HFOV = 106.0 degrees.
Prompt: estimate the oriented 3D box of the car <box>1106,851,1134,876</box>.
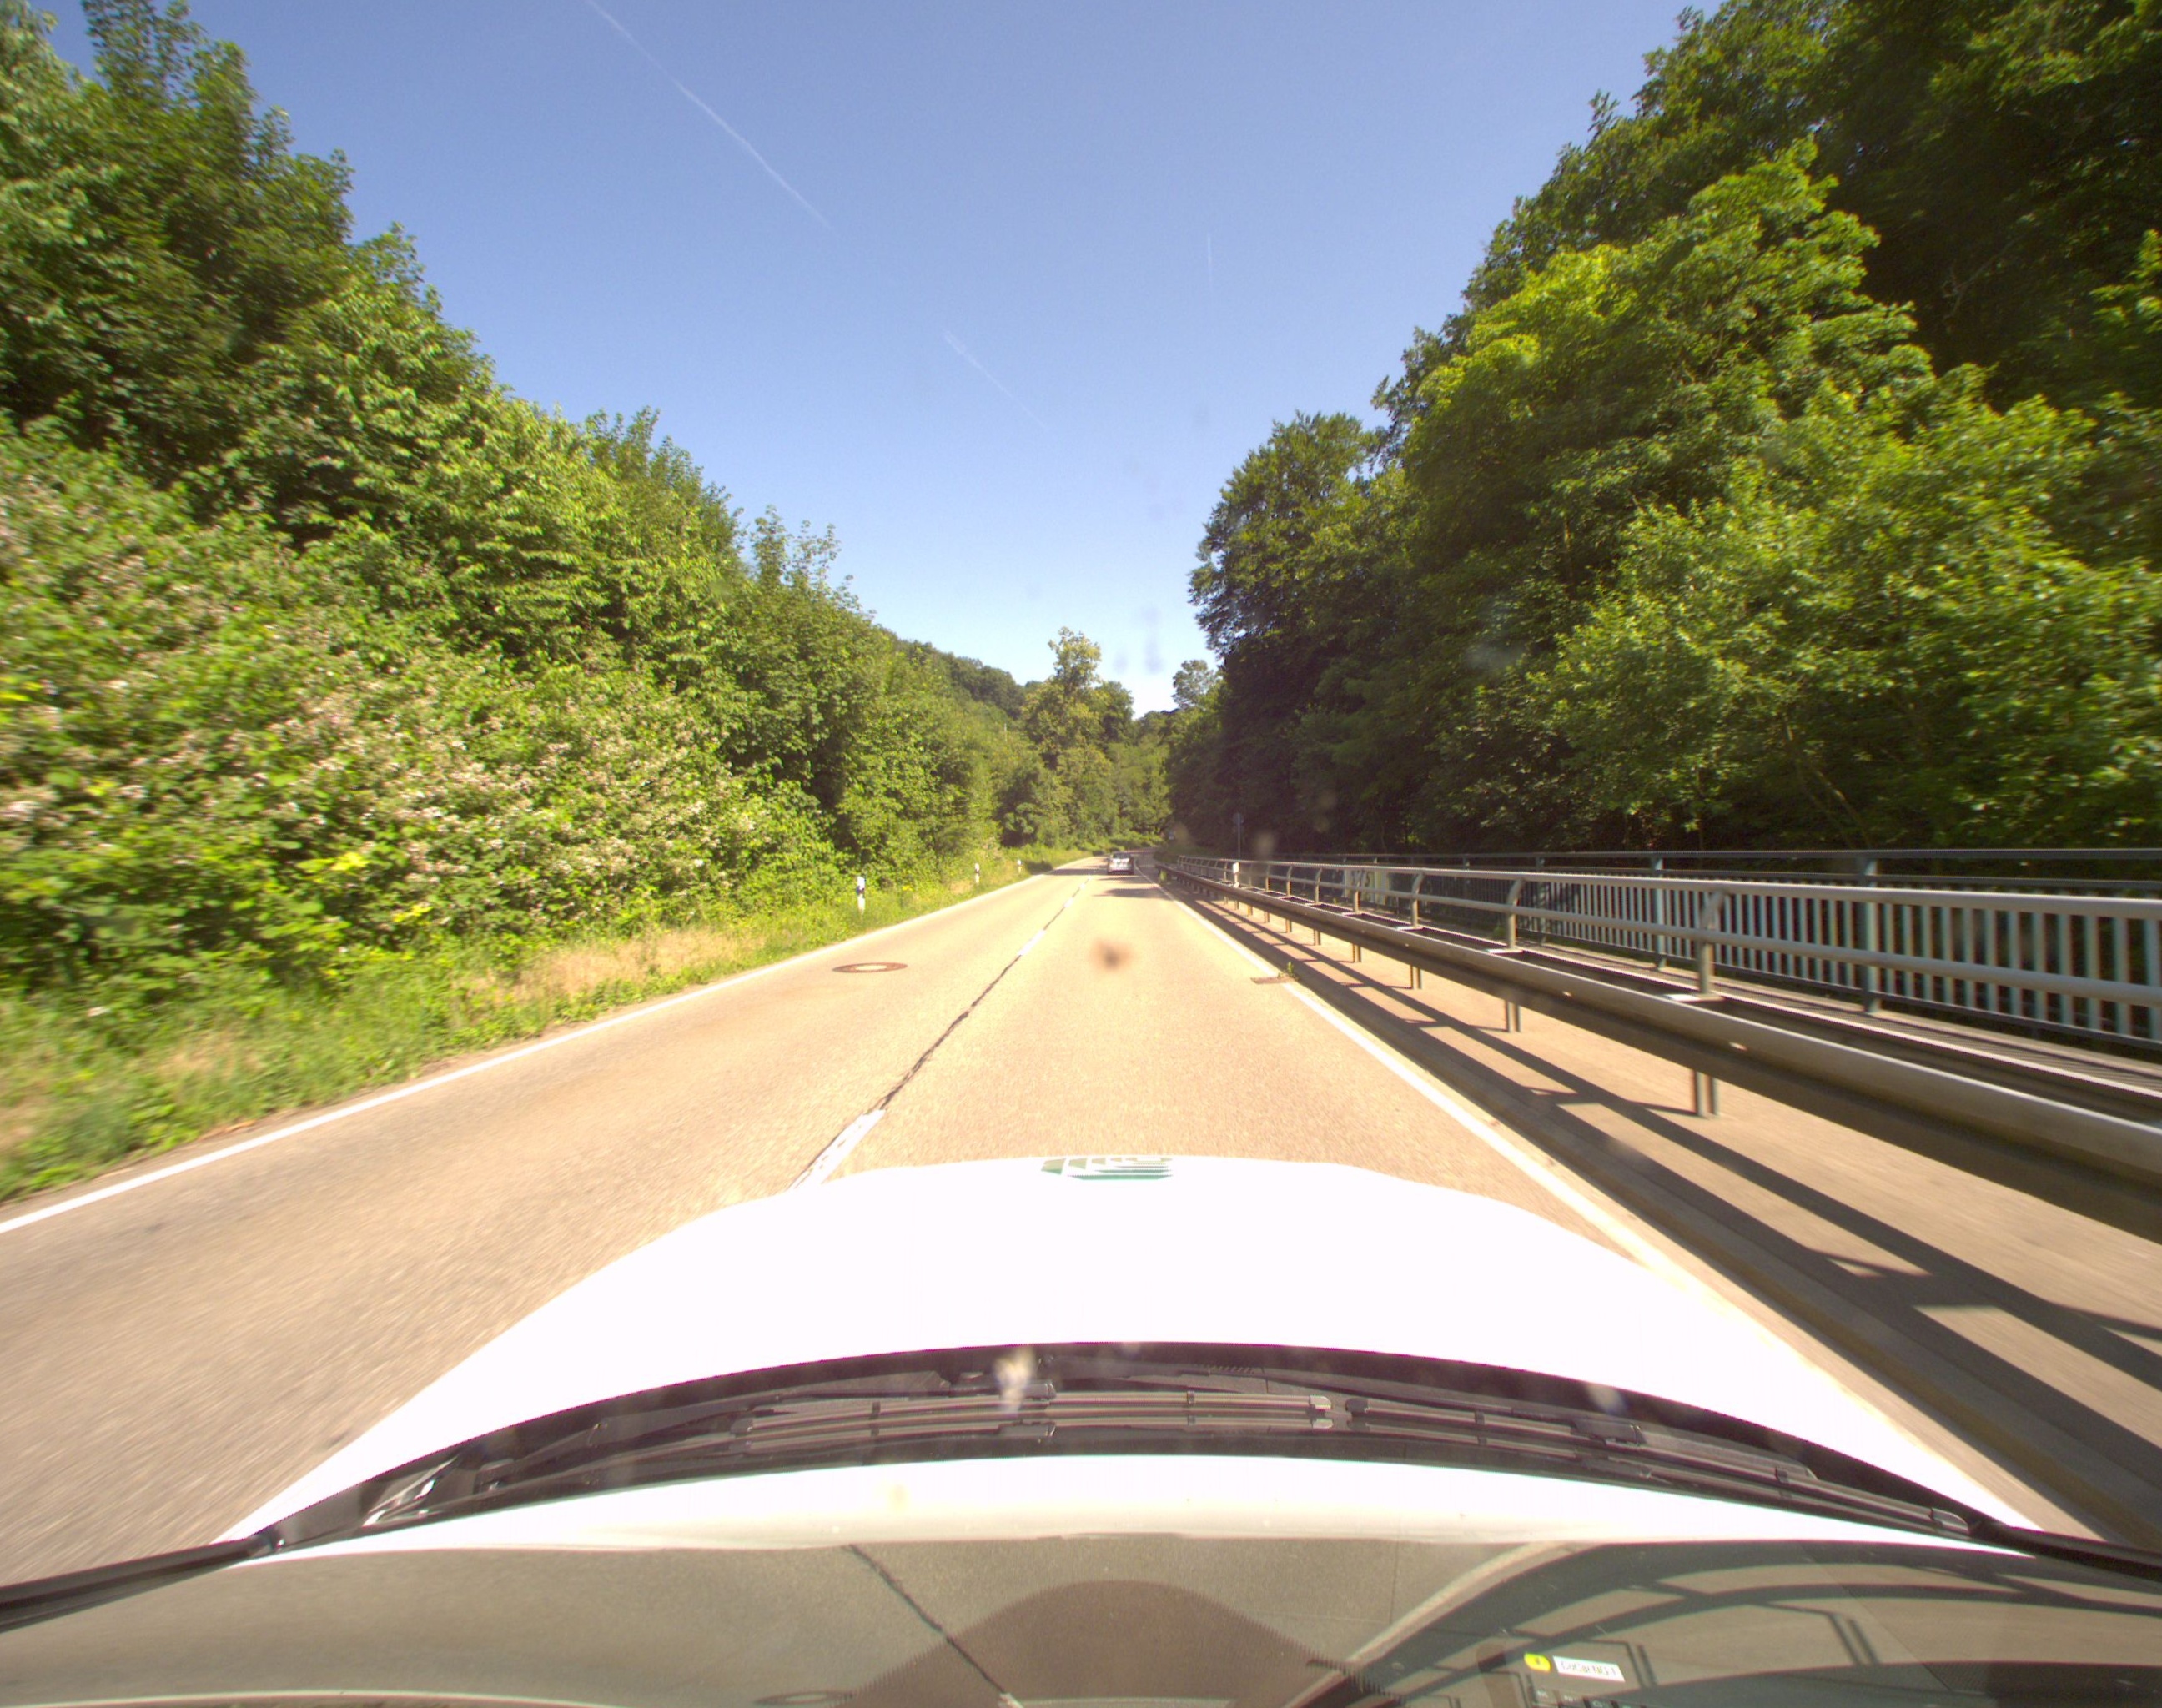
[{"bbox_3d":[2.613,0.597,54.440,1.744,1.520,4.162,-3,0,3],"label":"car"}]
